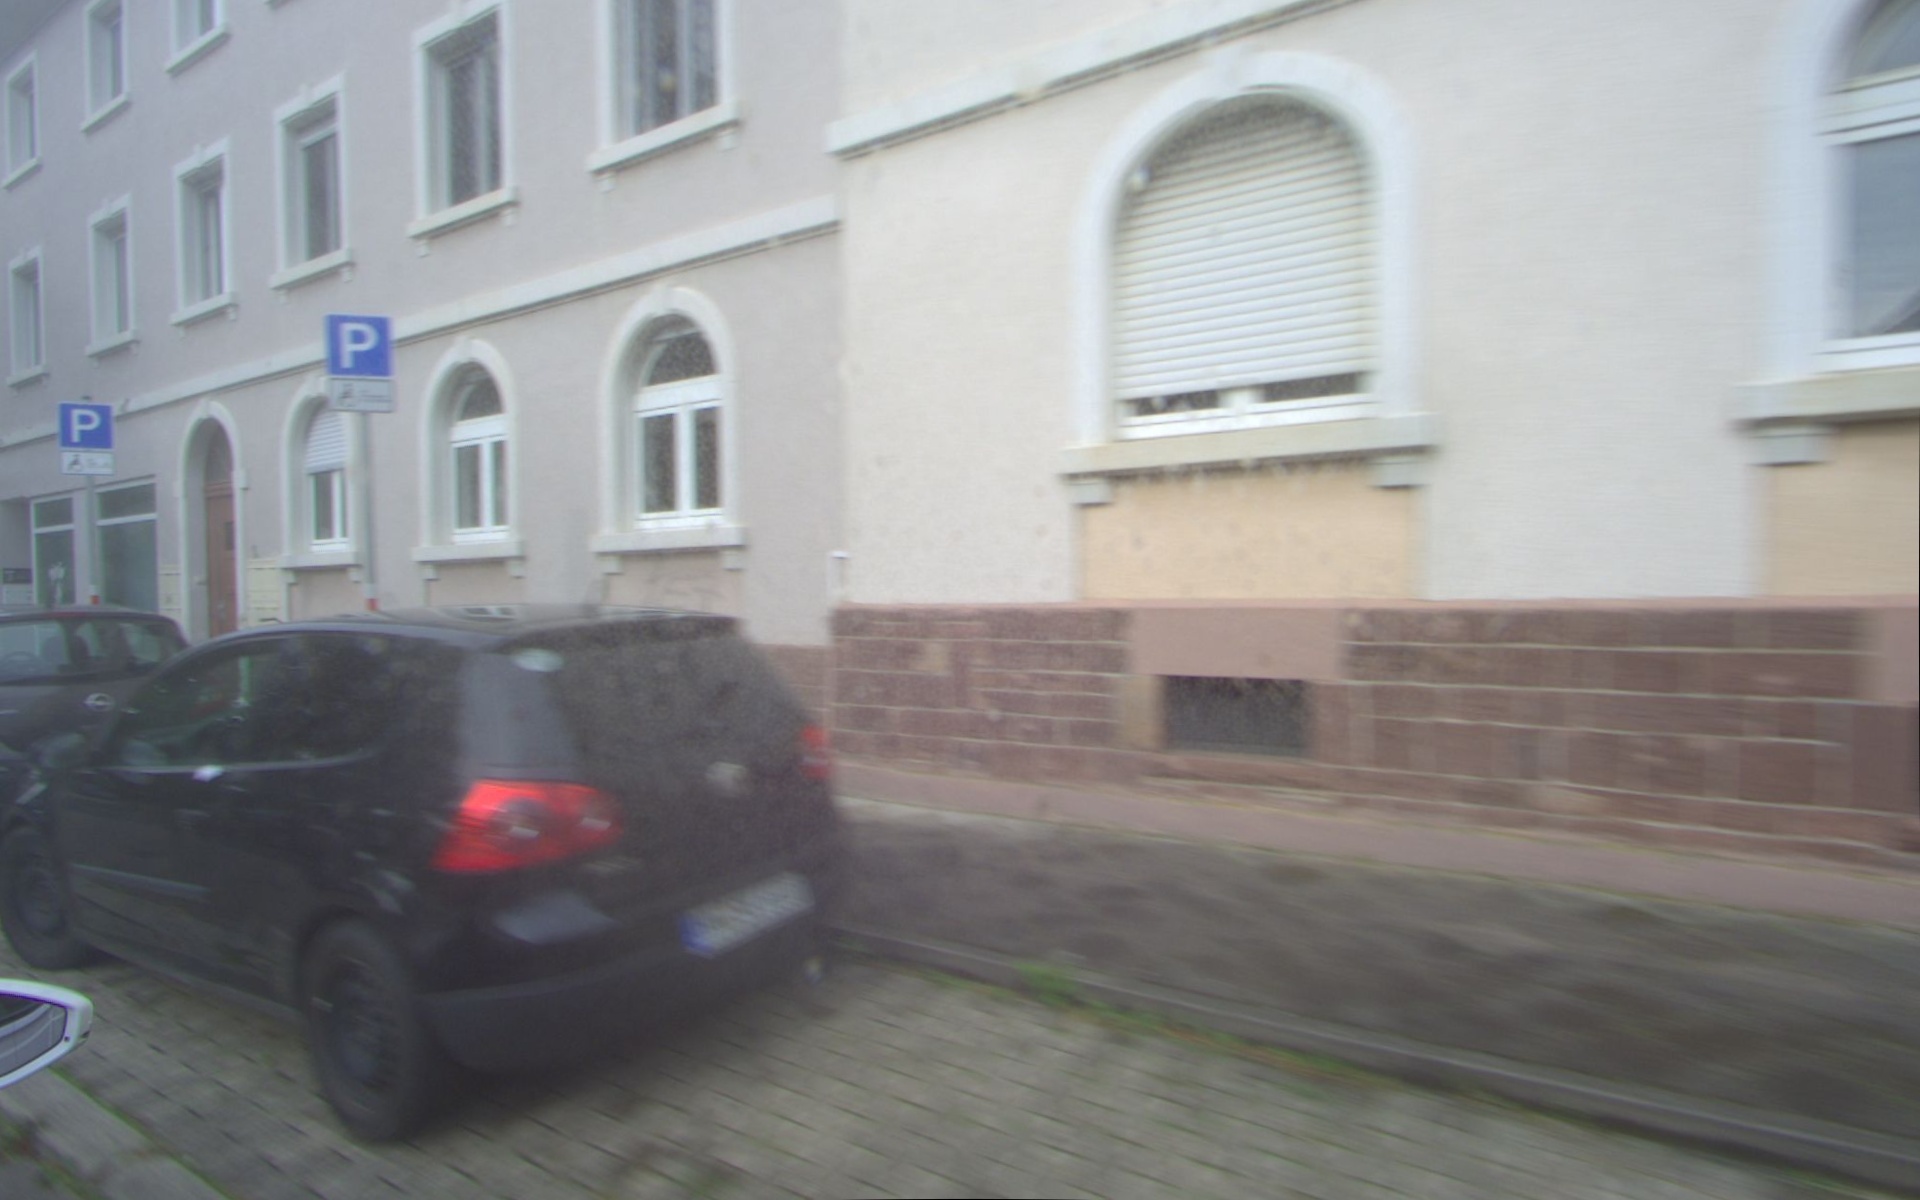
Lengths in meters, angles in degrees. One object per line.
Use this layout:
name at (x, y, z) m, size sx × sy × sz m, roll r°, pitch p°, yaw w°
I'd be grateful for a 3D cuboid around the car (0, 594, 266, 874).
car at (-6.647, 0.732, 6.752) m, size 3.842 × 1.474 × 1.685 m, roll 0°, pitch 3°, yaw 29°

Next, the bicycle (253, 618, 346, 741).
bicycle at (-6.770, 0.791, 10.248) m, size 1.139 × 1.198 × 0.318 m, roll 0°, pitch 1°, yaw 31°

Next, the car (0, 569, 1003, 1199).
car at (-2.191, 0.664, 3.932) m, size 4.479 × 1.474 × 1.683 m, roll 0°, pitch 3°, yaw 33°

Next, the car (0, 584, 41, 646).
car at (-26.520, 0.363, 27.221) m, size 4.306 × 1.587 × 1.826 m, roll 1°, pitch 1°, yaw 41°

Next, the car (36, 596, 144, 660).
car at (-25.808, 0.761, 29.660) m, size 4.021 × 1.720 × 1.901 m, roll 1°, pitch 1°, yaw 41°
